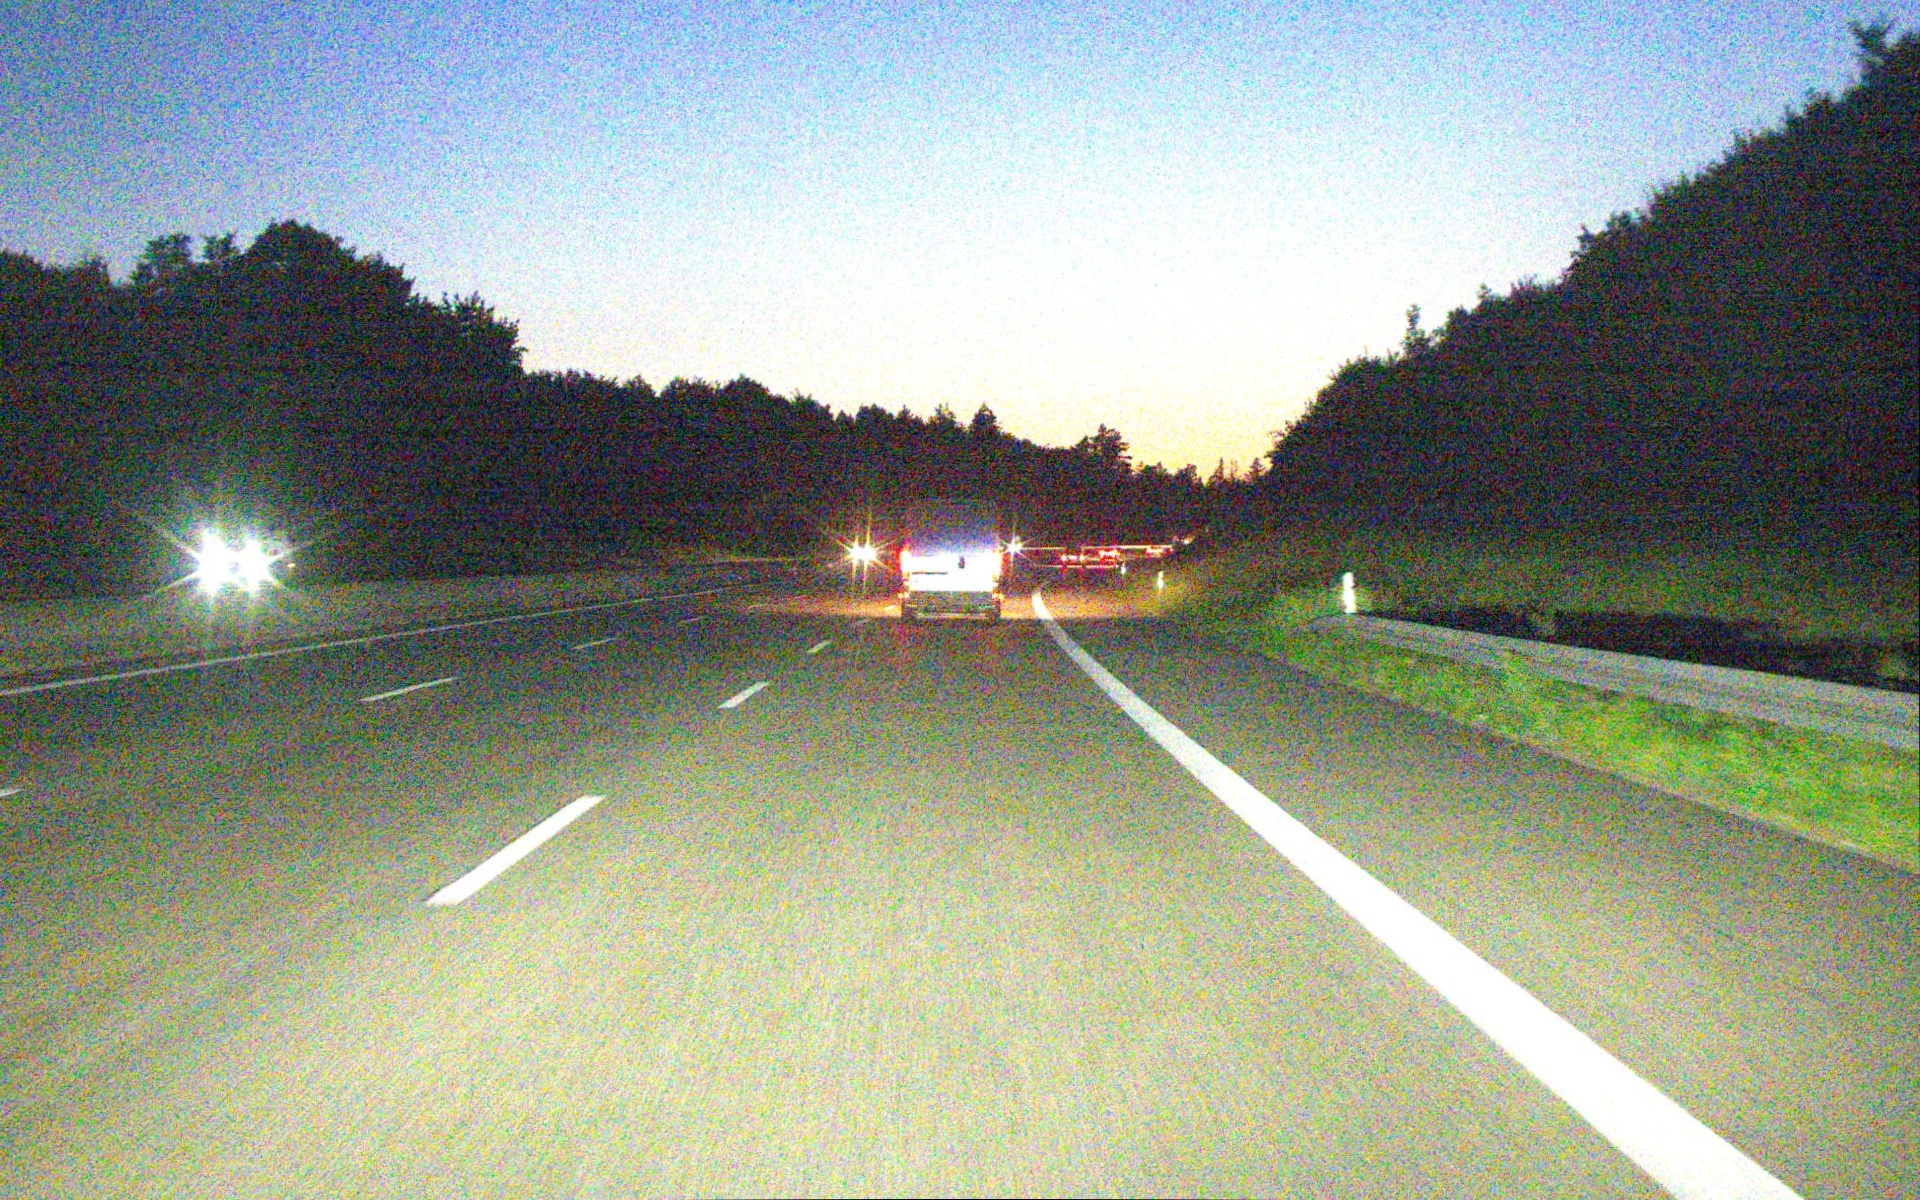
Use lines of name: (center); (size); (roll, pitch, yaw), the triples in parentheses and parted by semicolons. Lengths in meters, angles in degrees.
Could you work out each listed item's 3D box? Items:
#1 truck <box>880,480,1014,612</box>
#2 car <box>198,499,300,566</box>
truck: (-0.335, -1.117, 72.820); (2.630, 2.615, 8.685); (1, 1, -1)
car: (-22.170, -2.091, 107.342); (2.026, 2.007, 5.187); (1, 1, 1)
